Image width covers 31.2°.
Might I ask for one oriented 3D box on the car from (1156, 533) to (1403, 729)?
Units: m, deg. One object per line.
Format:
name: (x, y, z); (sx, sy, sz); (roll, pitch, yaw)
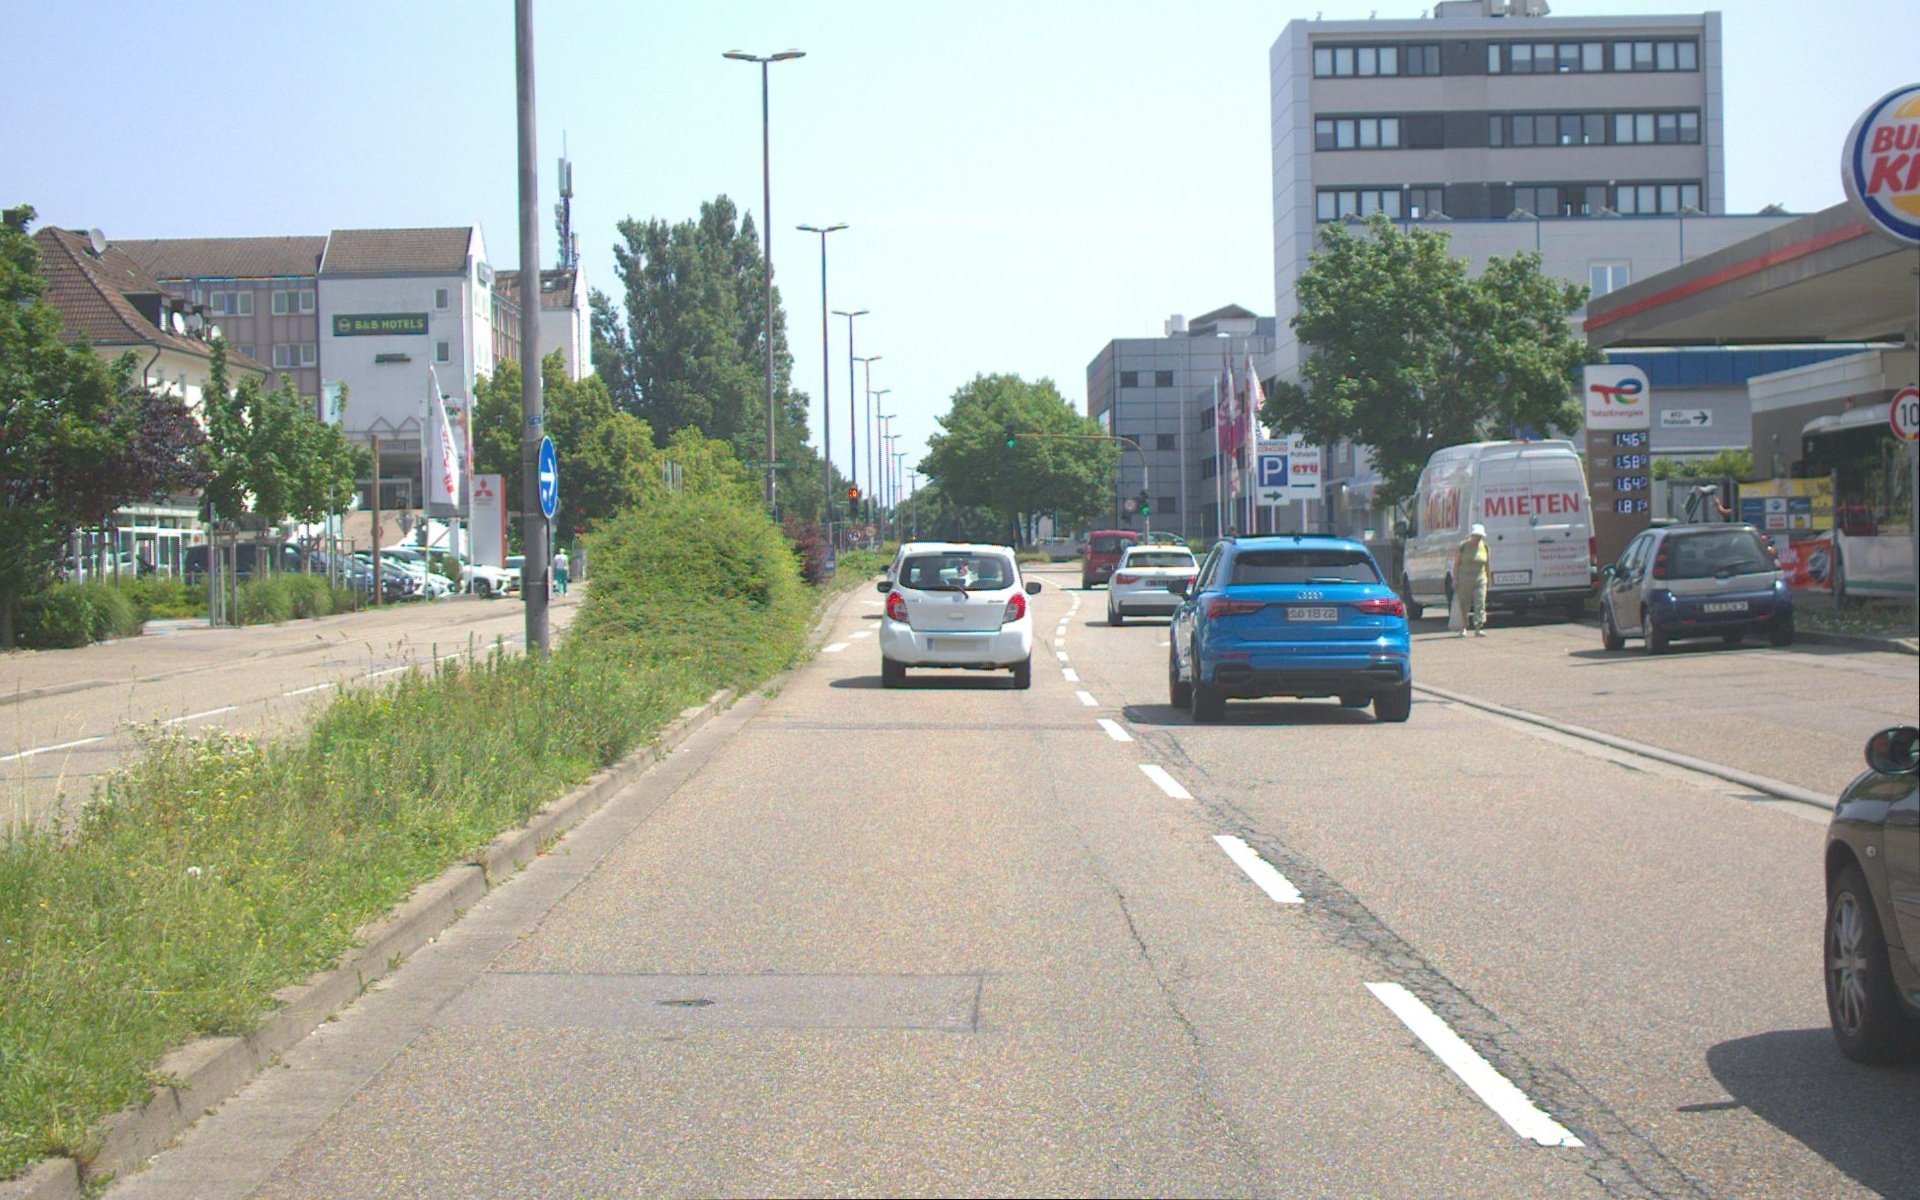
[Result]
car: (2.755, 0.211, 30.481); (1.913, 1.591, 4.395); (0, 1, 2)

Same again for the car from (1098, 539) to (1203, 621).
car: (3.372, -0.370, 61.431); (1.667, 1.394, 3.793); (-1, 1, 0)

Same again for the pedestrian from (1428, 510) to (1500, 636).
pedestrian: (7.160, -0.378, 48.872); (0.815, 1.743, 0.703); (3, 0, -1)

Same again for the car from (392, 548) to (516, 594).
car: (-17.504, -0.989, 119.026); (3.987, 1.547, 1.865); (0, -1, 2)

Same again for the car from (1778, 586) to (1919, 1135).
car: (3.307, 0.682, 8.554); (1.600, 1.420, 3.661); (-1, 1, -1)

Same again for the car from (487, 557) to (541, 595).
car: (-17.006, -0.908, 131.248); (1.901, 1.349, 4.000); (0, -1, -5)

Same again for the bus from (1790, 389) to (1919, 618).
bus: (14.422, -1.400, 48.962); (2.805, 3.068, 12.284); (-1, 2, 3)

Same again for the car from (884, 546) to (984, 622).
car: (-0.480, -0.293, 67.422); (1.830, 1.445, 4.000); (0, -1, 1)

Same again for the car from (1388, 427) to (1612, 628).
car: (8.375, -1.119, 54.047); (2.133, 2.830, 7.309); (-3, 1, -1)

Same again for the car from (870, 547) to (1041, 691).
car: (-0.086, 0.189, 37.501); (1.712, 1.505, 3.247); (0, 0, -3)

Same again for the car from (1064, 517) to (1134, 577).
car: (4.191, -1.576, 104.150); (1.794, 1.723, 3.973); (0, -1, -3)

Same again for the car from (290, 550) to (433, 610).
car: (-17.861, -0.583, 102.730); (3.986, 1.722, 1.937); (0, -1, -3)

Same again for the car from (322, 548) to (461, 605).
car: (-17.465, -0.718, 105.717); (3.986, 1.678, 2.000); (0, -1, -3)

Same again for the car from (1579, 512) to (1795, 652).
car: (8.570, -0.231, 40.812); (1.657, 1.514, 3.820); (-2, 1, -1)
